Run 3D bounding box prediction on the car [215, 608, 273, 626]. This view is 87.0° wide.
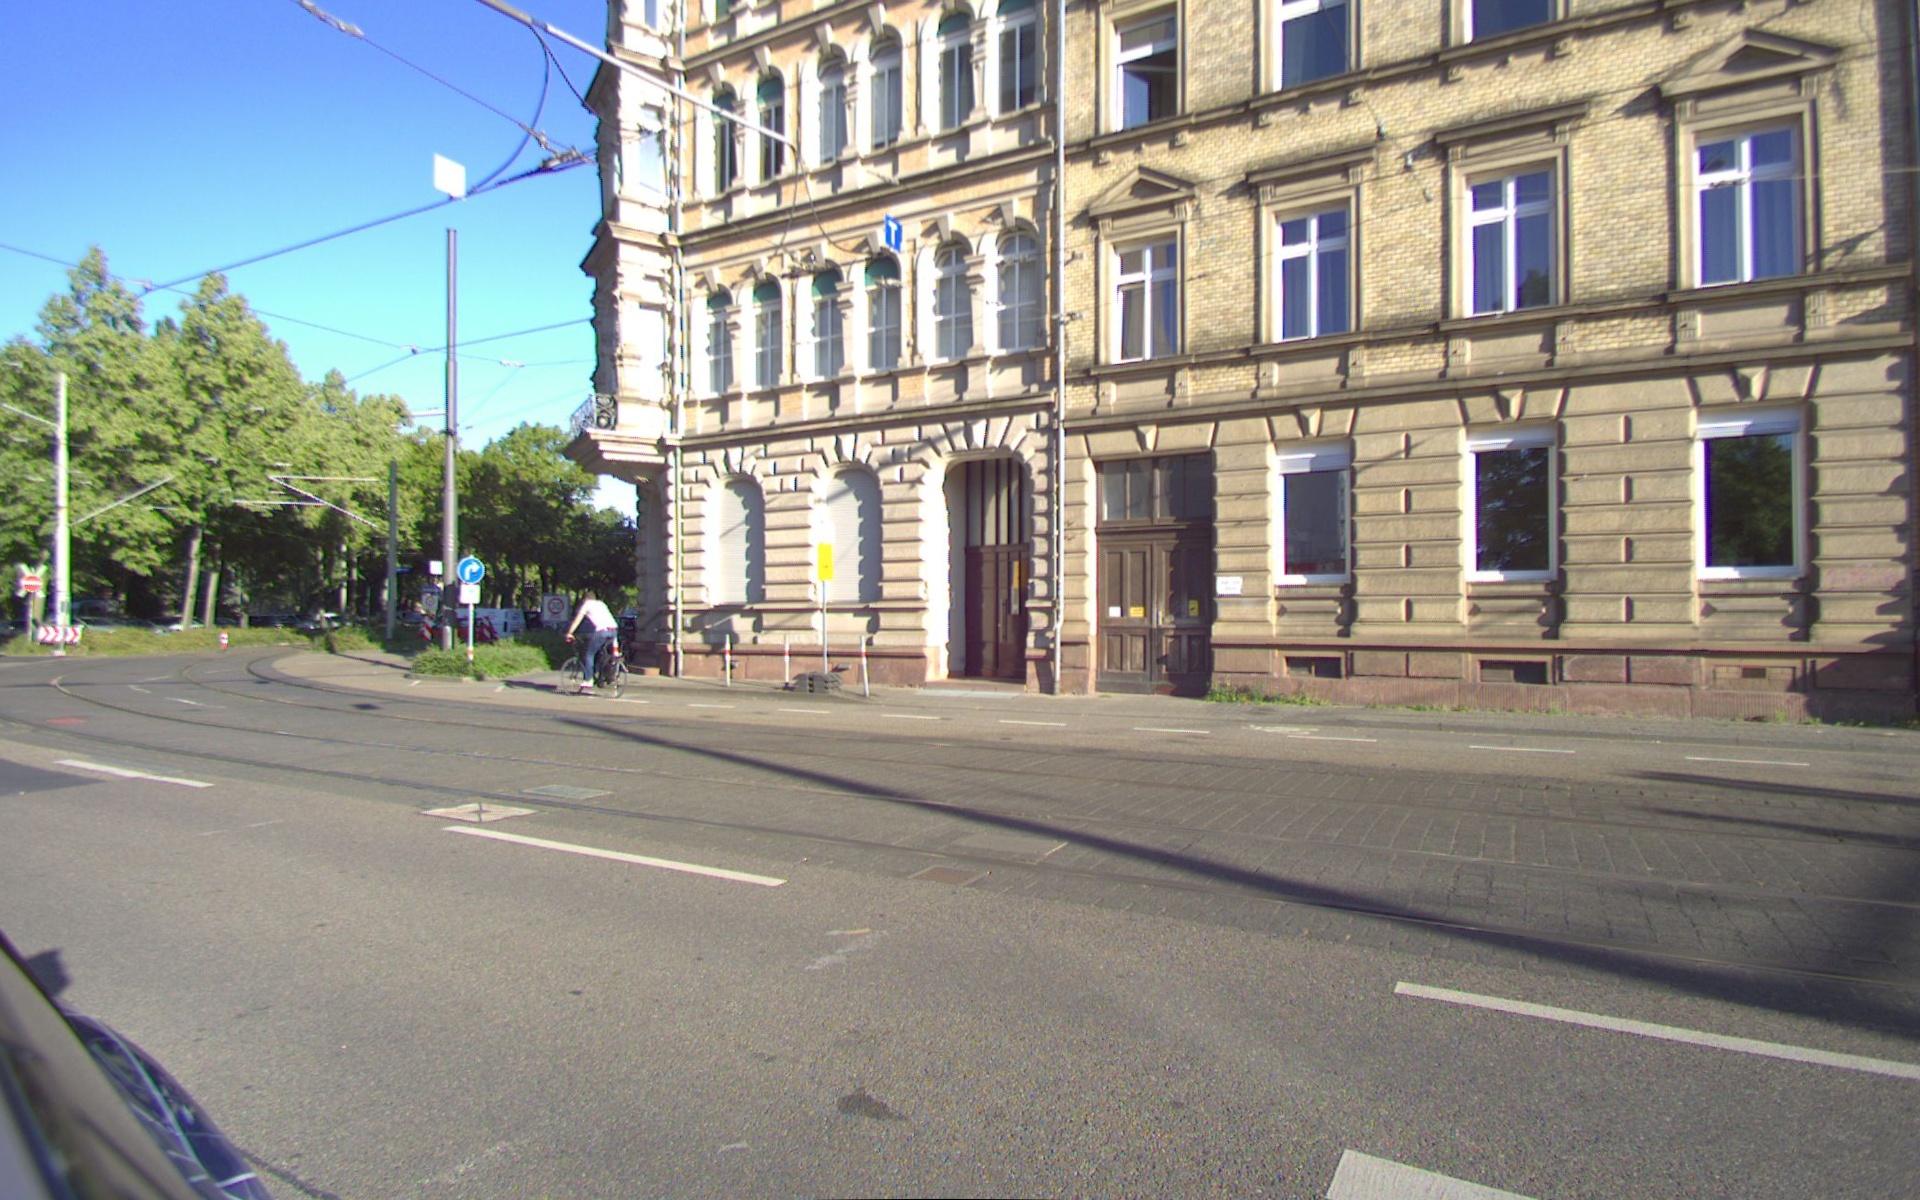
[{"bbox_3d":[-69.095,1.662,97.658,4.301,1.719,1.997,0,-1,4],"label":"car"}]

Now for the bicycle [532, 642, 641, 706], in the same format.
[{"bbox_3d":[-6.810,1.321,18.439,2.109,1.092,0.721,-2,-2,31],"label":"bicycle"}]

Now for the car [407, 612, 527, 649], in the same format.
[{"bbox_3d":[-24.275,1.498,49.927,4.995,1.801,1.997,0,-1,5],"label":"car"}]

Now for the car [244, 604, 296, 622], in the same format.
[{"bbox_3d":[-68.687,1.269,100.755,3.947,1.763,1.883,0,-1,3],"label":"car"}]

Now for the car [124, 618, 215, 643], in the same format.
[{"bbox_3d":[-43.412,1.660,55.624,3.637,1.364,1.741,0,-1,0],"label":"car"}]

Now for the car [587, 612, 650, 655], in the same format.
[{"bbox_3d":[-13.859,1.345,41.321,1.710,1.674,4.007,0,-1,-8],"label":"car"}]

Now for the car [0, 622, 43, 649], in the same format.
[{"bbox_3d":[-51.912,1.901,54.446,1.919,1.409,4.008,0,-1,-9],"label":"car"}]

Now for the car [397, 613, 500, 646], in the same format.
[{"bbox_3d":[-24.073,1.388,47.706,3.949,1.519,1.866,0,-1,5],"label":"car"}]

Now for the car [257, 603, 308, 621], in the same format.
[{"bbox_3d":[-69.308,1.230,103.569,3.947,1.763,1.883,0,-1,3],"label":"car"}]

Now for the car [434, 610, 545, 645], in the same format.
[{"bbox_3d":[-24.771,1.429,53.386,4.995,1.822,1.997,0,-1,5],"label":"car"}]

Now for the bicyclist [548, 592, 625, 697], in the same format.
[{"bbox_3d":[-6.815,0.807,18.462,1.208,1.854,0.722,-2,-2,31],"label":"bicyclist"}]

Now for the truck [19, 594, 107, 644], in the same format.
[{"bbox_3d":[-52.984,1.123,59.902,1.966,2.804,4.898,0,-1,-16],"label":"truck"}]

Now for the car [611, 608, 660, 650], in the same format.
[{"bbox_3d":[-16.542,1.470,51.765,1.967,2.029,4.647,0,-1,-13],"label":"car"}]

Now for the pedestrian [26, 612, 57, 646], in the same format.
[{"bbox_3d":[-49.423,1.560,54.454,0.821,1.781,0.885,0,-1,12],"label":"pedestrian"}]

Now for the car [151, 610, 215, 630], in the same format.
[{"bbox_3d":[-67.332,1.743,87.755,4.395,1.763,1.993,0,-1,11],"label":"car"}]

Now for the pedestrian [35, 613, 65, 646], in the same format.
[{"bbox_3d":[-48.596,1.563,54.045,0.821,1.781,0.885,0,-1,12],"label":"pedestrian"}]

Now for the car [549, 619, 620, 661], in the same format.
[{"bbox_3d":[-13.483,1.415,36.518,1.710,1.425,3.440,0,-1,-8],"label":"car"}]

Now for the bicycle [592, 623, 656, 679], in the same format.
[{"bbox_3d":[-8.146,1.213,24.651,0.636,1.275,2.687,0,-1,1],"label":"bicycle"}]
